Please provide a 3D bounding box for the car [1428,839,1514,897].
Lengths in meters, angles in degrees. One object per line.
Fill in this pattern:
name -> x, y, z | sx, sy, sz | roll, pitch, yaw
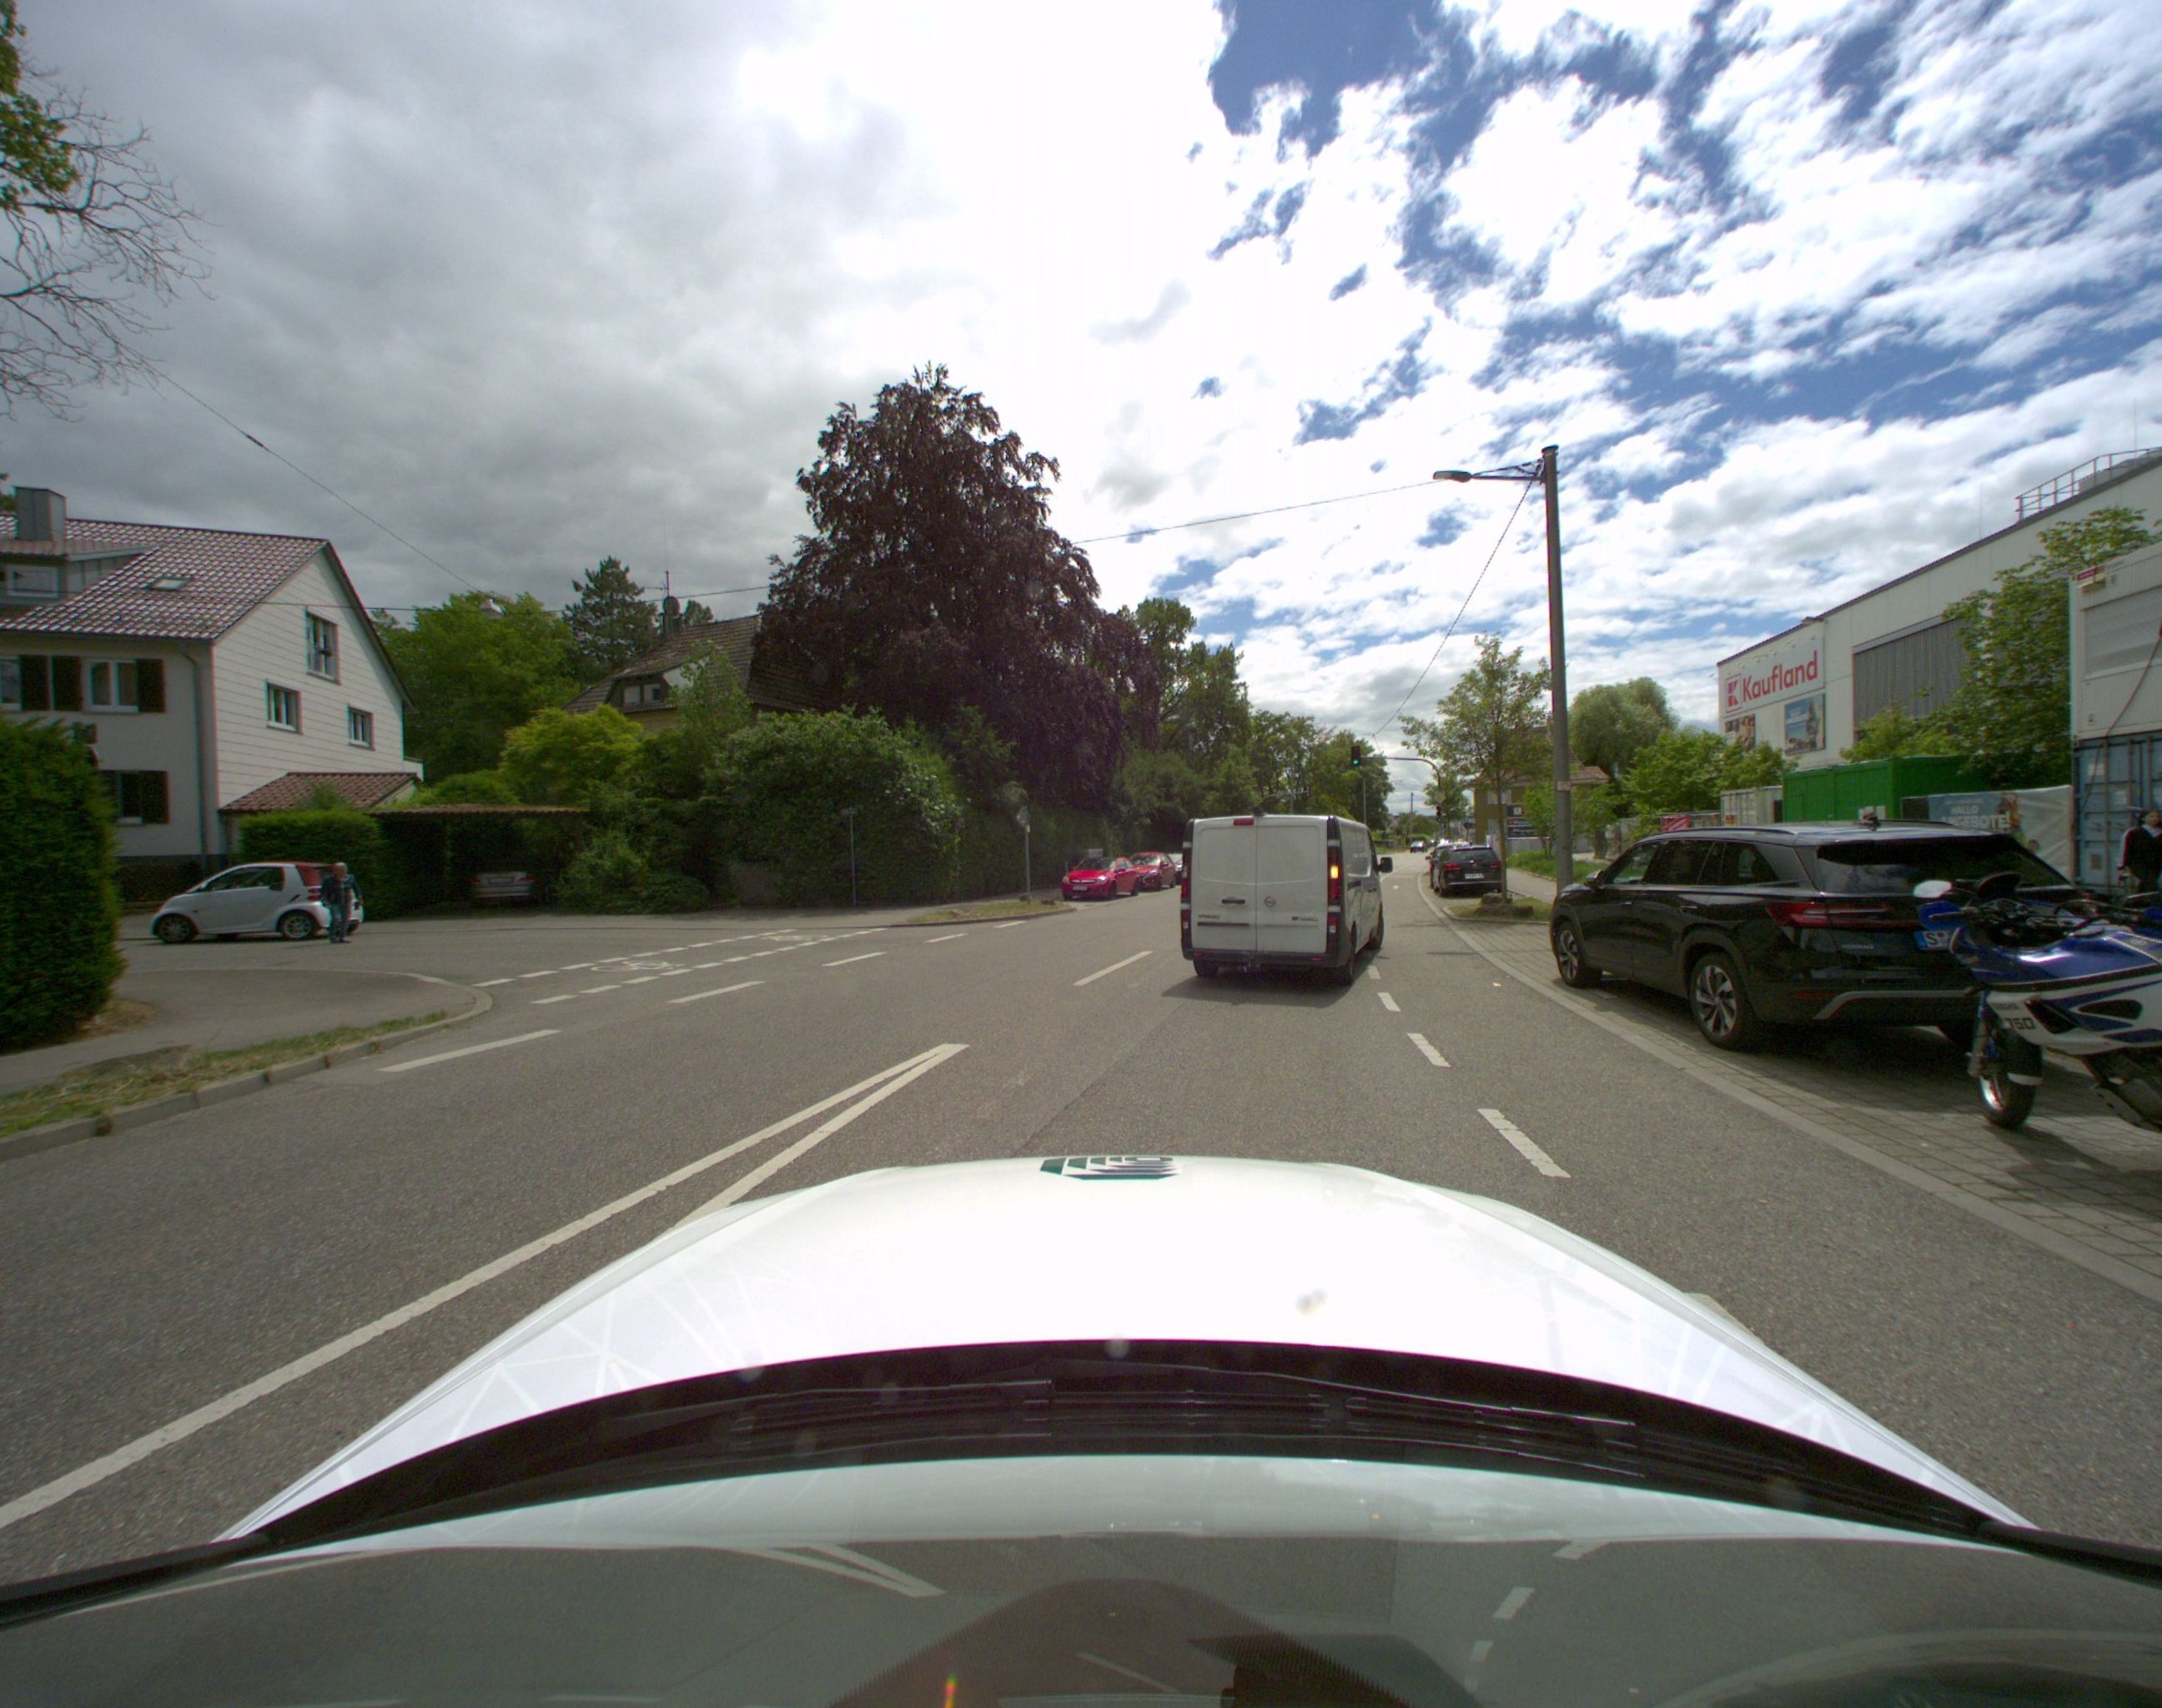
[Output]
car -> 11.732, 0.380, 24.796 | 1.750, 1.477, 4.960 | -4, -1, 19

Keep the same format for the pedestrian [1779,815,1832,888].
pedestrian -> 17.339, -0.063, 19.503 | 0.646, 1.697, 0.849 | -1, 0, 19

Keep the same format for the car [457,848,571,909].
car -> -15.876, 0.610, 23.029 | 1.729, 1.509, 3.971 | -1, 1, -21

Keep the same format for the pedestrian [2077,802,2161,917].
pedestrian -> 15.343, 0.071, 11.862 | 0.736, 1.618, 0.771 | -1, 0, 19

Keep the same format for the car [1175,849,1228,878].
car -> 6.213, 0.460, 41.516 | 1.680, 1.365, 4.711 | 0, 1, 21

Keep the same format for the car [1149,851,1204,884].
car -> 4.434, 0.589, 37.563 | 1.581, 1.450, 3.616 | 0, 0, 23

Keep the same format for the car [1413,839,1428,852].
car -> 48.073, -1.230, 115.419 | 1.817, 1.616, 4.175 | -2, 0, 22

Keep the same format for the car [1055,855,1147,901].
car -> 0.797, 0.755, 28.001 | 1.646, 1.378, 4.590 | 0, 0, 22

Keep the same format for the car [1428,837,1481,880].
car -> 15.833, 0.159, 34.688 | 1.722, 1.616, 4.410 | -4, -1, 22

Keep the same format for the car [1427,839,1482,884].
car -> 13.482, 0.244, 29.537 | 1.554, 1.493, 4.021 | -3, 0, 22

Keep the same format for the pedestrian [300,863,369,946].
pedestrian -> -13.999, 0.930, 15.298 | 0.730, 1.508, 0.624 | -1, 0, -16

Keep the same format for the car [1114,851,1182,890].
car -> 2.773, 0.630, 32.955 | 1.635, 1.450, 4.126 | 0, 0, 21

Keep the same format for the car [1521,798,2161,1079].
car -> 5.772, 0.523, 7.249 | 1.866, 1.621, 4.862 | -3, 0, 11

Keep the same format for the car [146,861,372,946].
car -> -16.477, 0.947, 16.489 | 2.775, 1.555, 1.581 | 0, 0, -17

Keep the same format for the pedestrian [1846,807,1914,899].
pedestrian -> 15.179, -0.012, 15.489 | 0.645, 1.696, 0.728 | -1, 0, 19

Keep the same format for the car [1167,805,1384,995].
car -> 2.879, 0.438, 11.027 | 1.921, 1.960, 4.861 | 1, 1, 25

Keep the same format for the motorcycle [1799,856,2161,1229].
motorcycle -> 4.629, 0.708, 3.611 | 1.065, 1.305, 2.266 | -4, 0, 9

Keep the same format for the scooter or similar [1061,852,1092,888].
scooter or similar -> -0.191, 0.653, 33.700 | 0.664, 1.412, 1.658 | -1, 1, 23
